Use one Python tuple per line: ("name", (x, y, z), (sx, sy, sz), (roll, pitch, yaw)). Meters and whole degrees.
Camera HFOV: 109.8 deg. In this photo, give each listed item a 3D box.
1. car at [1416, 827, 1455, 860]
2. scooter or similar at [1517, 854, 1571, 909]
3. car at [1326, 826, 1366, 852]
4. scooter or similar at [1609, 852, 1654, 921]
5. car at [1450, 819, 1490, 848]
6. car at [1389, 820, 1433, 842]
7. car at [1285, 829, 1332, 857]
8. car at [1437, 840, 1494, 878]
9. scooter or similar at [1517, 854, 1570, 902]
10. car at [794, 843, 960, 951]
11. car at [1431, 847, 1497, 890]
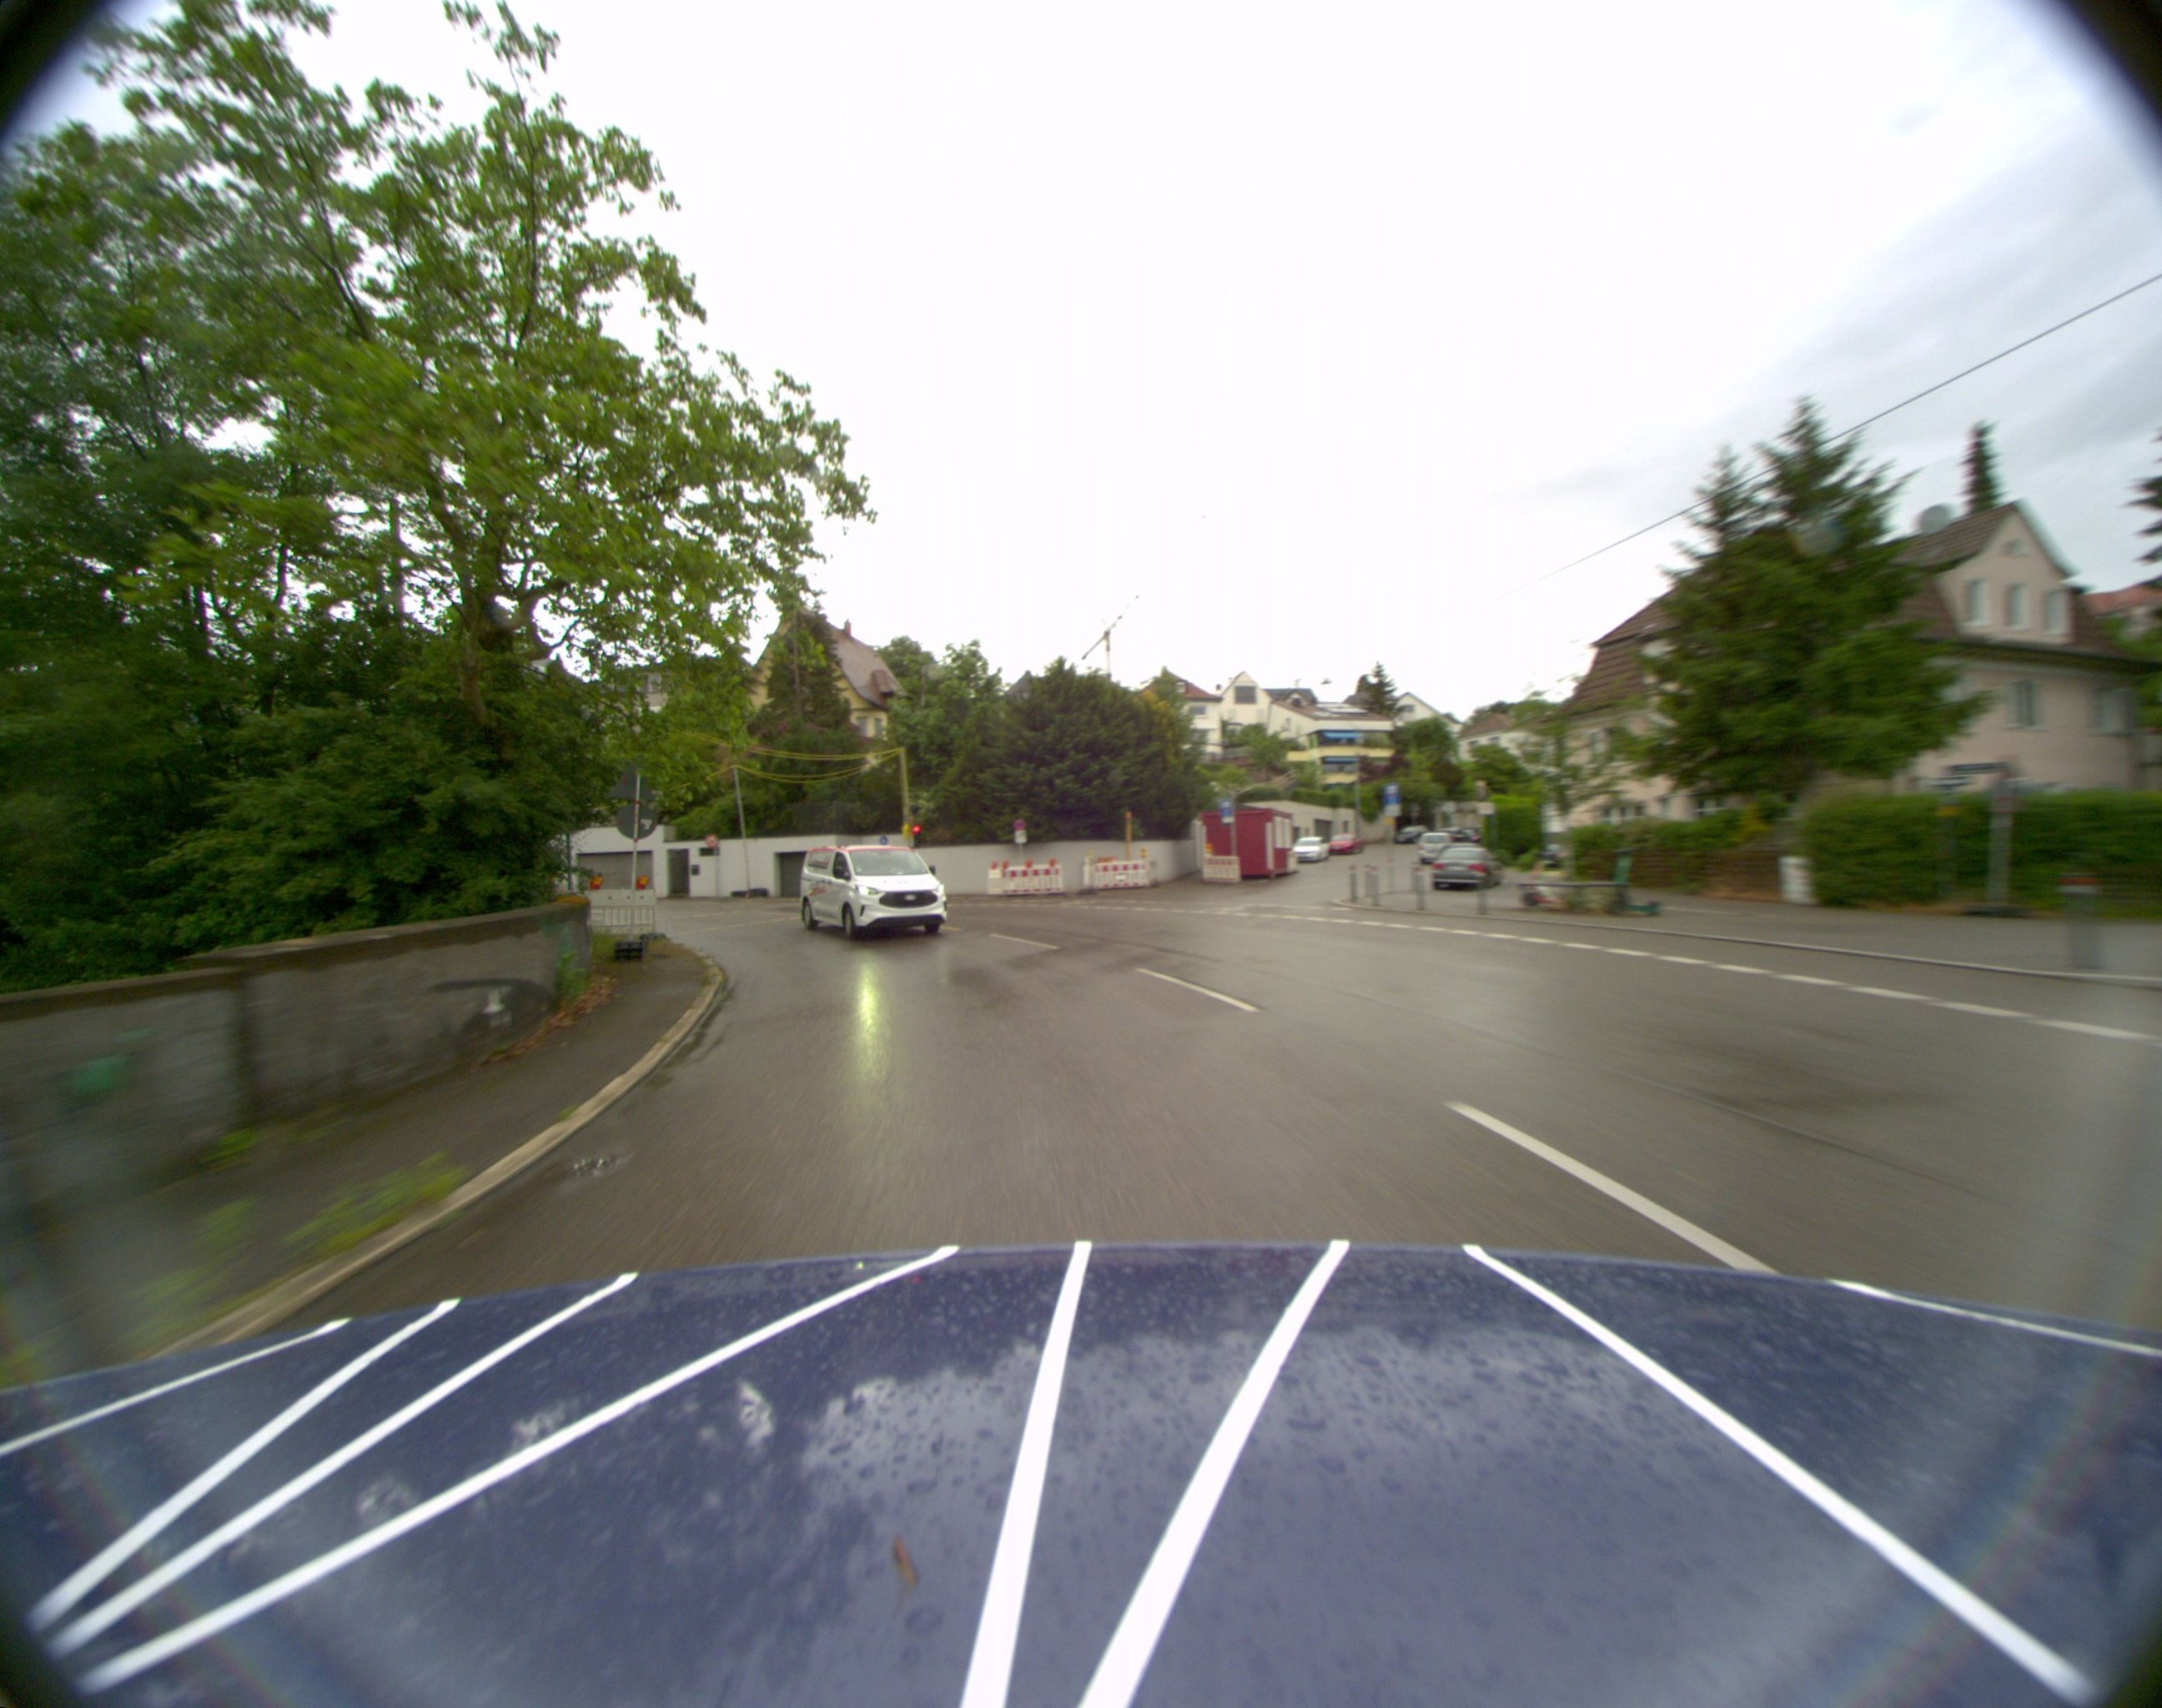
("car", (19.606, -0.616, 42.123), (1.870, 1.653, 4.005), (0, 3, 24))
("scooter or similar", (10.166, 0.605, 16.680), (1.036, 1.157, 0.243), (-2, 1, -2))
("car", (18.732, -1.020, 53.619), (1.870, 1.652, 4.008), (0, 0, 32))
("scooter or similar", (10.165, 0.589, 14.020), (1.038, 1.211, 0.243), (-2, 1, -29))
("car", (24.855, -1.365, 48.676), (1.995, 1.697, 4.005), (0, 3, 24))
("car", (27.620, -1.920, 63.498), (4.006, 1.485, 1.878), (-6, 0, -45))
("car", (14.129, -0.707, 47.035), (1.995, 1.653, 4.006), (0, 2, 28))
("car", (15.557, 0.157, 30.901), (1.671, 1.394, 4.210), (-1, 1, 21))
("scooter or similar", (10.578, 0.545, 17.377), (1.036, 1.063, 0.243), (-2, 1, 0))
("car", (-4.763, 0.822, 17.152), (2.003, 2.002, 4.936), (-4, 2, -34))
("car", (13.111, 0.448, 25.879), (1.671, 1.259, 4.211), (-1, 1, 31))
